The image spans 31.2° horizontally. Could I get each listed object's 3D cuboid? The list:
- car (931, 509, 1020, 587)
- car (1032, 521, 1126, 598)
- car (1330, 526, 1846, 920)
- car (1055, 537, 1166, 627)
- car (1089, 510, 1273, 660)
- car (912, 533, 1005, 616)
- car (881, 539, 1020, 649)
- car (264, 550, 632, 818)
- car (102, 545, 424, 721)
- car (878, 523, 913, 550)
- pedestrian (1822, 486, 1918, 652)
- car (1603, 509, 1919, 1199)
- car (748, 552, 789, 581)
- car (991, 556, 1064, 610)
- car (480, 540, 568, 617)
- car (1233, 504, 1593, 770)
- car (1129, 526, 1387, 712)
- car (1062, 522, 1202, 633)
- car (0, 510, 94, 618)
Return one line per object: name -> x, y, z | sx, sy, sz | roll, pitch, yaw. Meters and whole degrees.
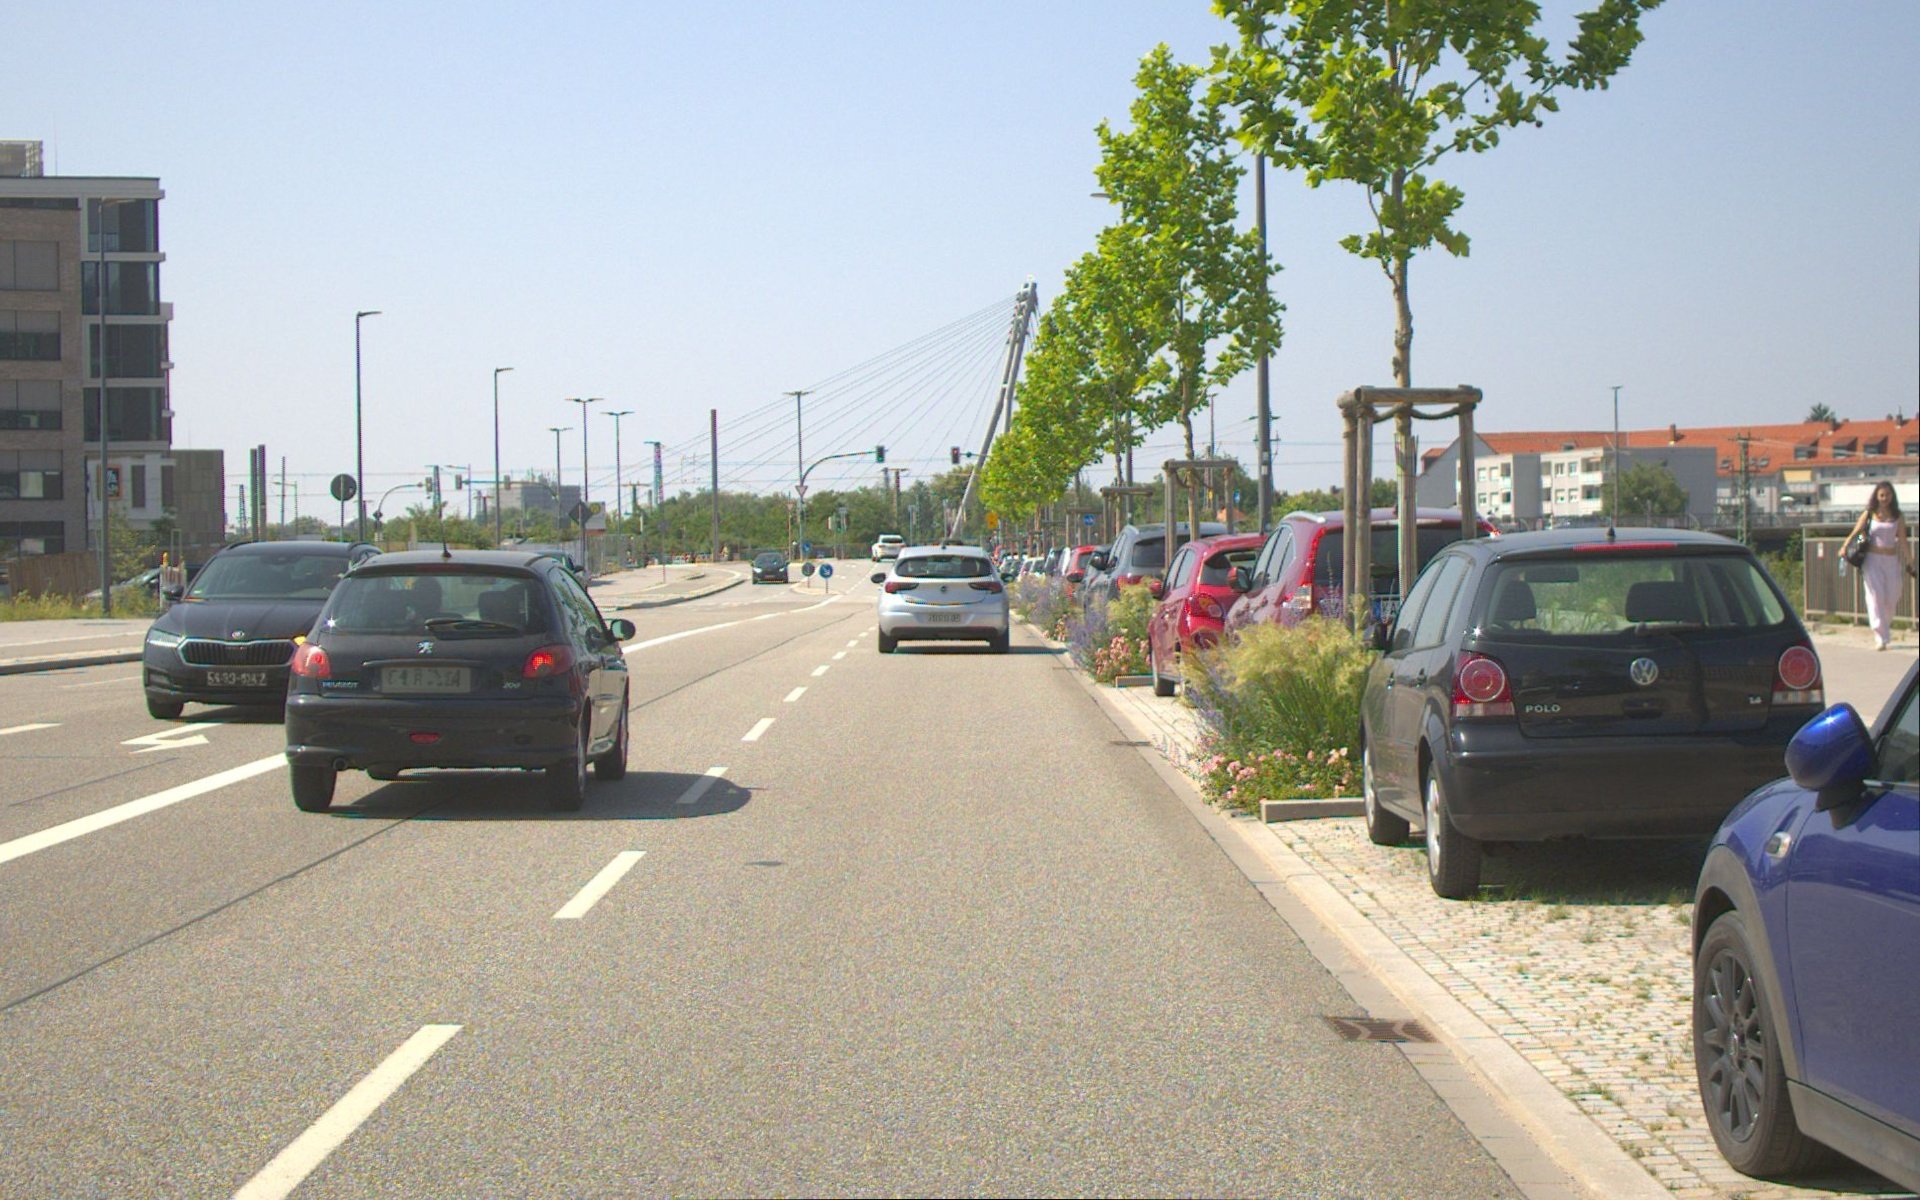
car -> 0.355, -1.089, 73.217 | 1.778, 1.563, 4.000 | 1, 0, 2
car -> 2.552, -0.858, 73.143 | 1.908, 1.572, 4.157 | -1, 1, 3
car -> 2.624, 0.434, 15.152 | 1.620, 1.474, 3.824 | -1, 2, 1
car -> 2.603, -0.337, 60.167 | 1.717, 1.446, 4.000 | 1, 2, 0
car -> 2.535, -0.203, 40.333 | 1.734, 1.603, 4.241 | -2, 1, -1
car -> -0.012, -0.575, 75.070 | 1.793, 1.744, 4.000 | 1, 1, 3
car -> -0.090, -0.113, 47.708 | 1.778, 1.437, 4.000 | -1, 1, 2
car -> -2.912, 0.421, 20.218 | 1.619, 1.411, 3.727 | 1, 1, 0
car -> -5.954, 0.227, 29.903 | 1.787, 1.393, 4.572 | 0, 1, 1
car -> -3.947, -3.877, 210.447 | 1.854, 1.644, 4.001 | 1, 1, -5
pedestrian -> 9.494, -0.328, 35.899 | 0.780, 1.699, 0.742 | 1, 1, 1
car -> 2.604, 0.553, 6.865 | 1.908, 1.474, 4.158 | -1, 2, 1
car -> -9.246, -1.613, 166.452 | 1.704, 1.347, 4.456 | -1, 0, 0
car -> 1.660, -0.445, 86.173 | 1.632, 1.305, 4.000 | 1, 1, -1
car -> -9.120, -0.426, 72.098 | 1.579, 1.557, 3.674 | 1, 0, -4
car -> 2.974, 0.166, 23.471 | 1.908, 1.611, 4.548 | -1, 2, 1
car -> 2.576, 0.128, 30.498 | 1.603, 1.486, 3.819 | -2, 1, -5
car -> 2.403, -0.357, 48.989 | 1.633, 1.424, 4.241 | -2, 2, -1
car -> -20.828, -0.706, 70.718 | 5.442, 2.166, 2.396 | -1, 1, -3
